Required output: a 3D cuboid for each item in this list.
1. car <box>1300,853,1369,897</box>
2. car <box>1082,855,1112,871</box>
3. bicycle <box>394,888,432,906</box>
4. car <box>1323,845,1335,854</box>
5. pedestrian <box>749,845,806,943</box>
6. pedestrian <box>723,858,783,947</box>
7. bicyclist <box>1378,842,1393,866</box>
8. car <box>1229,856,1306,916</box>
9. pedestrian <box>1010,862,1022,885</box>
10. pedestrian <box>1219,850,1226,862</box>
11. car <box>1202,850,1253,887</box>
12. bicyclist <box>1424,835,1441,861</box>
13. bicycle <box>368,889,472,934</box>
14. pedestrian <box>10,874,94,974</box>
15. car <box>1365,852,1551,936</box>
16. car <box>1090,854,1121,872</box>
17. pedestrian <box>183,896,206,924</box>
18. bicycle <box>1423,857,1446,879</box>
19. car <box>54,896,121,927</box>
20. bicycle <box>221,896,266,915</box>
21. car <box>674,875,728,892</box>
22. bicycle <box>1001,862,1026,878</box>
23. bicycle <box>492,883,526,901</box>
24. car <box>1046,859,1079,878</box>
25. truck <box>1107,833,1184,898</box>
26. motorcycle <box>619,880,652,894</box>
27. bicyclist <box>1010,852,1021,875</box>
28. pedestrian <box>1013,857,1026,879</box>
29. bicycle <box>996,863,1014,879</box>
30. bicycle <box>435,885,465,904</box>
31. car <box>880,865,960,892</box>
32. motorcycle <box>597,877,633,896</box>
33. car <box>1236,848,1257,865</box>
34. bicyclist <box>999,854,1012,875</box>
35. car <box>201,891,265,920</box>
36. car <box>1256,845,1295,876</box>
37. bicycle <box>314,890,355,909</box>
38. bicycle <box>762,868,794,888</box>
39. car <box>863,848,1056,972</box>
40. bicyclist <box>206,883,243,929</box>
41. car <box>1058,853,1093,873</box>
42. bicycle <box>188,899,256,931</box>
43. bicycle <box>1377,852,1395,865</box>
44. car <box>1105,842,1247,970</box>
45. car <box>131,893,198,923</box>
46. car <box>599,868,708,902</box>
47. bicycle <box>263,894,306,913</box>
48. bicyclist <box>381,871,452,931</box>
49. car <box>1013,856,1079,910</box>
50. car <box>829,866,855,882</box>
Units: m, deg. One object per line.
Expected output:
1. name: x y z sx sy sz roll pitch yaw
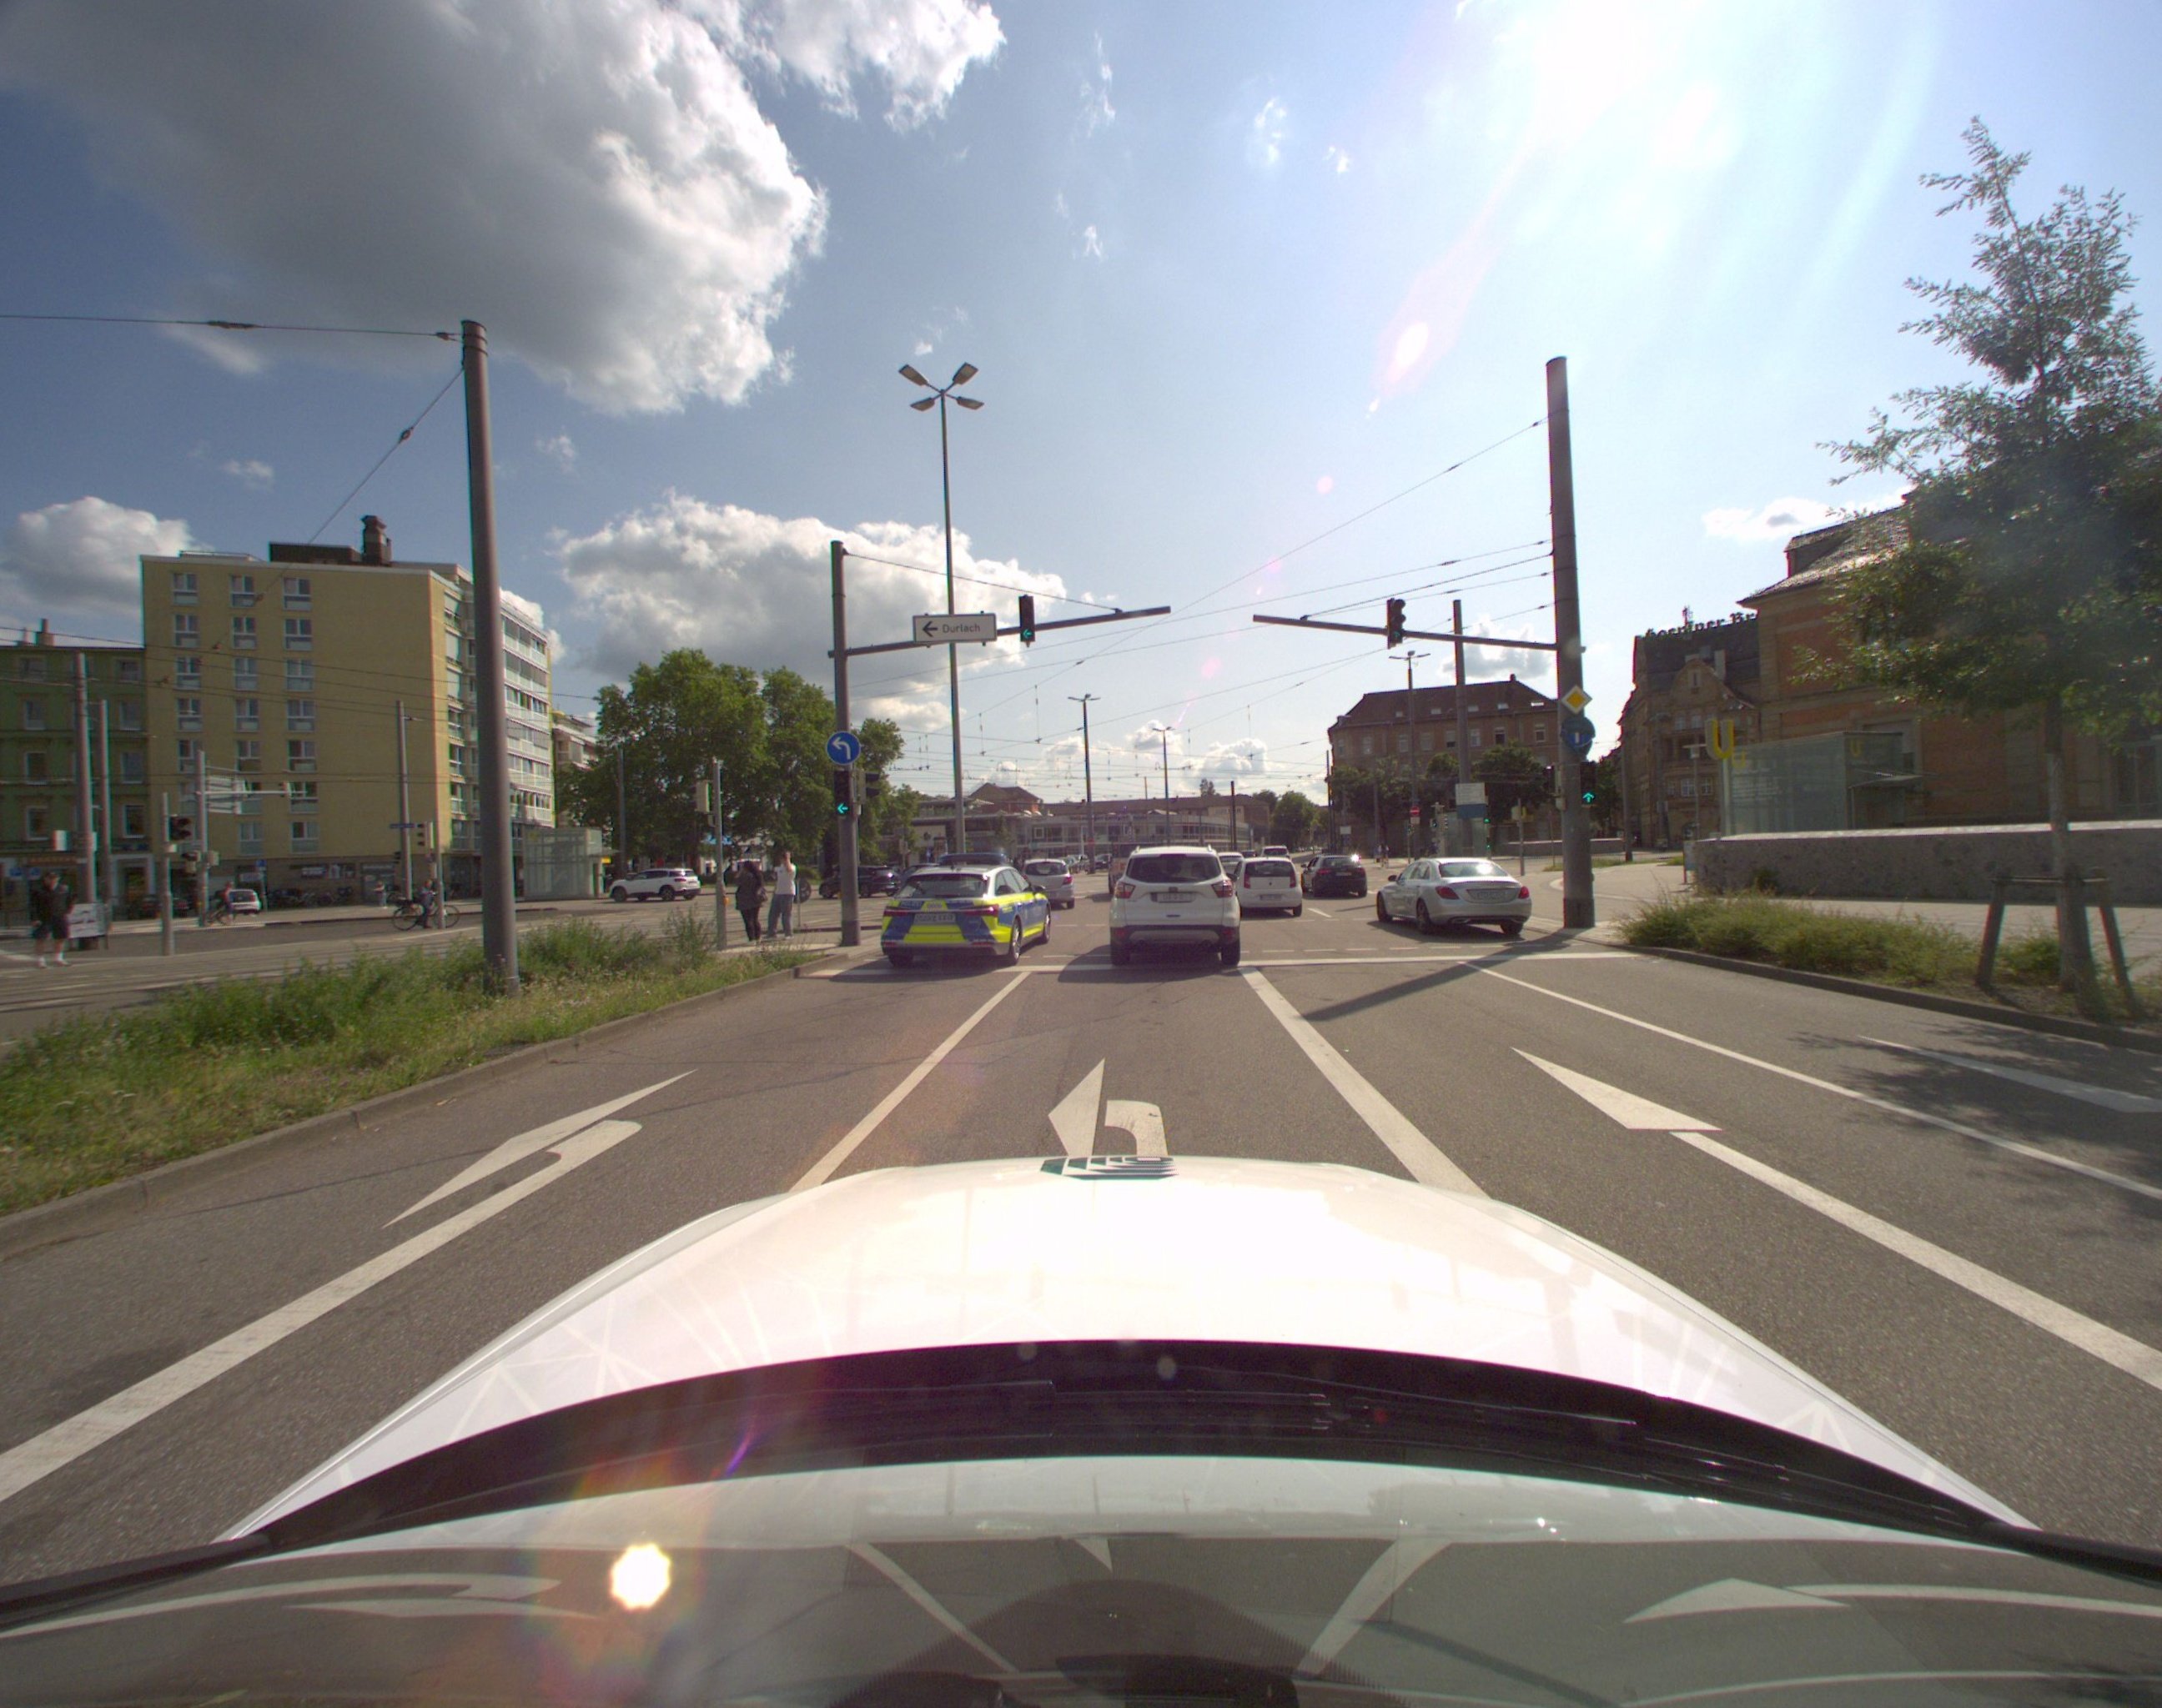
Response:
1. car: 8.775 0.671 28.525 1.689 1.372 4.143 -2 0 9
2. car: 1.605 0.892 81.158 1.612 1.461 3.990 -3 0 22
3. bicycle: -45.241 2.906 55.197 1.810 1.104 0.791 -2 -1 -20
4. car: 47.571 -0.920 156.237 1.821 1.652 4.020 -2 -1 20
5. pedestrian: -6.202 0.803 16.680 0.845 1.917 0.692 -3 -1 -1
6. pedestrian: -6.399 0.933 15.914 0.845 1.648 0.692 -3 -1 -1
7. bicyclist: 19.534 0.007 52.221 0.606 1.451 0.774 -2 -1 1
8. car: 4.914 0.792 21.922 1.640 1.422 4.009 -2 0 8
9. pedestrian: -5.097 1.536 63.520 0.923 1.744 0.588 0 -1 -8
10. pedestrian: 23.165 0.377 133.369 0.866 1.922 0.882 -1 -1 32
11. car: 6.165 0.594 34.602 1.841 1.419 3.685 -1 -1 6
12. bicyclist: 17.204 -0.297 39.809 0.629 1.220 0.929 -4 0 27
13. bicycle: -20.302 1.754 25.047 2.288 1.188 0.994 -3 -1 -3
14. pedestrian: -20.336 1.350 16.115 0.770 1.903 0.818 0 -1 -32
15. car: 7.414 0.714 16.616 1.921 1.455 4.765 -1 0 5
16. car: 2.248 0.802 74.177 1.676 1.461 3.987 -3 0 17
17. pedestrian: -52.054 3.277 47.811 0.701 1.534 0.551 -3 -1 -25
18. bicycle: 17.278 0.676 39.783 0.839 0.970 1.973 -5 -1 27
19. car: -53.905 3.122 44.188 3.849 1.497 1.912 -4 -2 33
20. bicycle: -54.089 3.327 52.600 1.810 1.104 0.791 -2 -1 -20
21. car: -33.957 2.615 72.913 3.978 1.327 1.631 -3 -2 -3
22. bicycle: -5.091 1.215 61.630 1.769 1.125 0.641 -2 0 6
23. bicycle: -41.337 2.746 58.839 1.809 1.147 0.792 -2 -1 -19
24. car: -1.495 1.131 66.695 1.725 1.373 3.655 -3 0 13
25. truck: 2.290 0.410 30.586 2.331 2.155 5.850 -2 -1 0
26. motorcycle: -34.549 2.558 63.163 0.800 0.917 2.058 -2 1 36
27. bicyclist: -4.940 0.734 61.597 0.656 1.738 0.641 -1 0 7
28. pedestrian: -4.726 1.077 62.777 0.923 1.744 0.588 0 -1 -8
29. bicycle: -6.247 1.380 67.301 0.754 1.192 2.159 -3 0 14
30. bicycle: -44.235 2.827 57.106 0.792 1.258 1.807 -2 0 -4
31. car: -8.748 1.331 44.159 3.950 1.376 1.752 -2 -1 26
32. motorcycle: -33.409 2.294 58.341 2.194 1.238 0.910 -2 0 17
33. car: 15.217 0.246 74.725 1.837 1.419 3.691 -2 -1 12
34. bicyclist: -6.255 0.851 67.365 0.754 1.683 0.763 -3 -1 14
35. car: -48.479 2.939 46.521 3.849 1.497 1.912 -4 -2 34
36. car: 11.100 0.396 46.742 1.825 1.652 4.010 -2 -1 9
37. bicycle: -49.616 3.021 54.121 1.810 1.104 0.791 -2 -1 -20
38. bicycle: -22.851 1.836 61.436 2.172 1.414 0.808 -1 0 -16
39. car: -1.687 0.780 13.017 1.870 1.568 4.623 -2 -1 6
40. bicyclist: -34.370 2.088 32.686 0.779 1.797 0.705 0 -1 -19
41. car: -0.442 0.800 74.794 1.722 1.573 4.022 -3 0 22
42. bicycle: -34.366 2.404 32.631 0.890 1.138 2.342 0 -1 -19
43. bicycle: 19.565 0.270 52.227 0.582 0.775 1.621 -2 0 1
44. car: 1.360 0.703 12.679 1.819 1.664 3.959 -1 -1 3
45. car: -50.506 2.985 44.877 3.849 1.497 1.912 -4 -2 33
46. car: -21.692 1.564 41.393 4.497 1.578 2.052 -2 -1 9
47. bicycle: -52.164 3.248 53.342 1.810 1.104 0.791 -2 -1 -20
48. bicyclist: -20.410 1.435 25.042 1.294 1.731 0.994 -3 -1 -3
49. car: -1.162 0.853 25.664 1.844 1.474 3.994 -2 0 -4
50. car: -32.534 2.704 111.089 1.962 1.937 5.066 -4 -1 -1
